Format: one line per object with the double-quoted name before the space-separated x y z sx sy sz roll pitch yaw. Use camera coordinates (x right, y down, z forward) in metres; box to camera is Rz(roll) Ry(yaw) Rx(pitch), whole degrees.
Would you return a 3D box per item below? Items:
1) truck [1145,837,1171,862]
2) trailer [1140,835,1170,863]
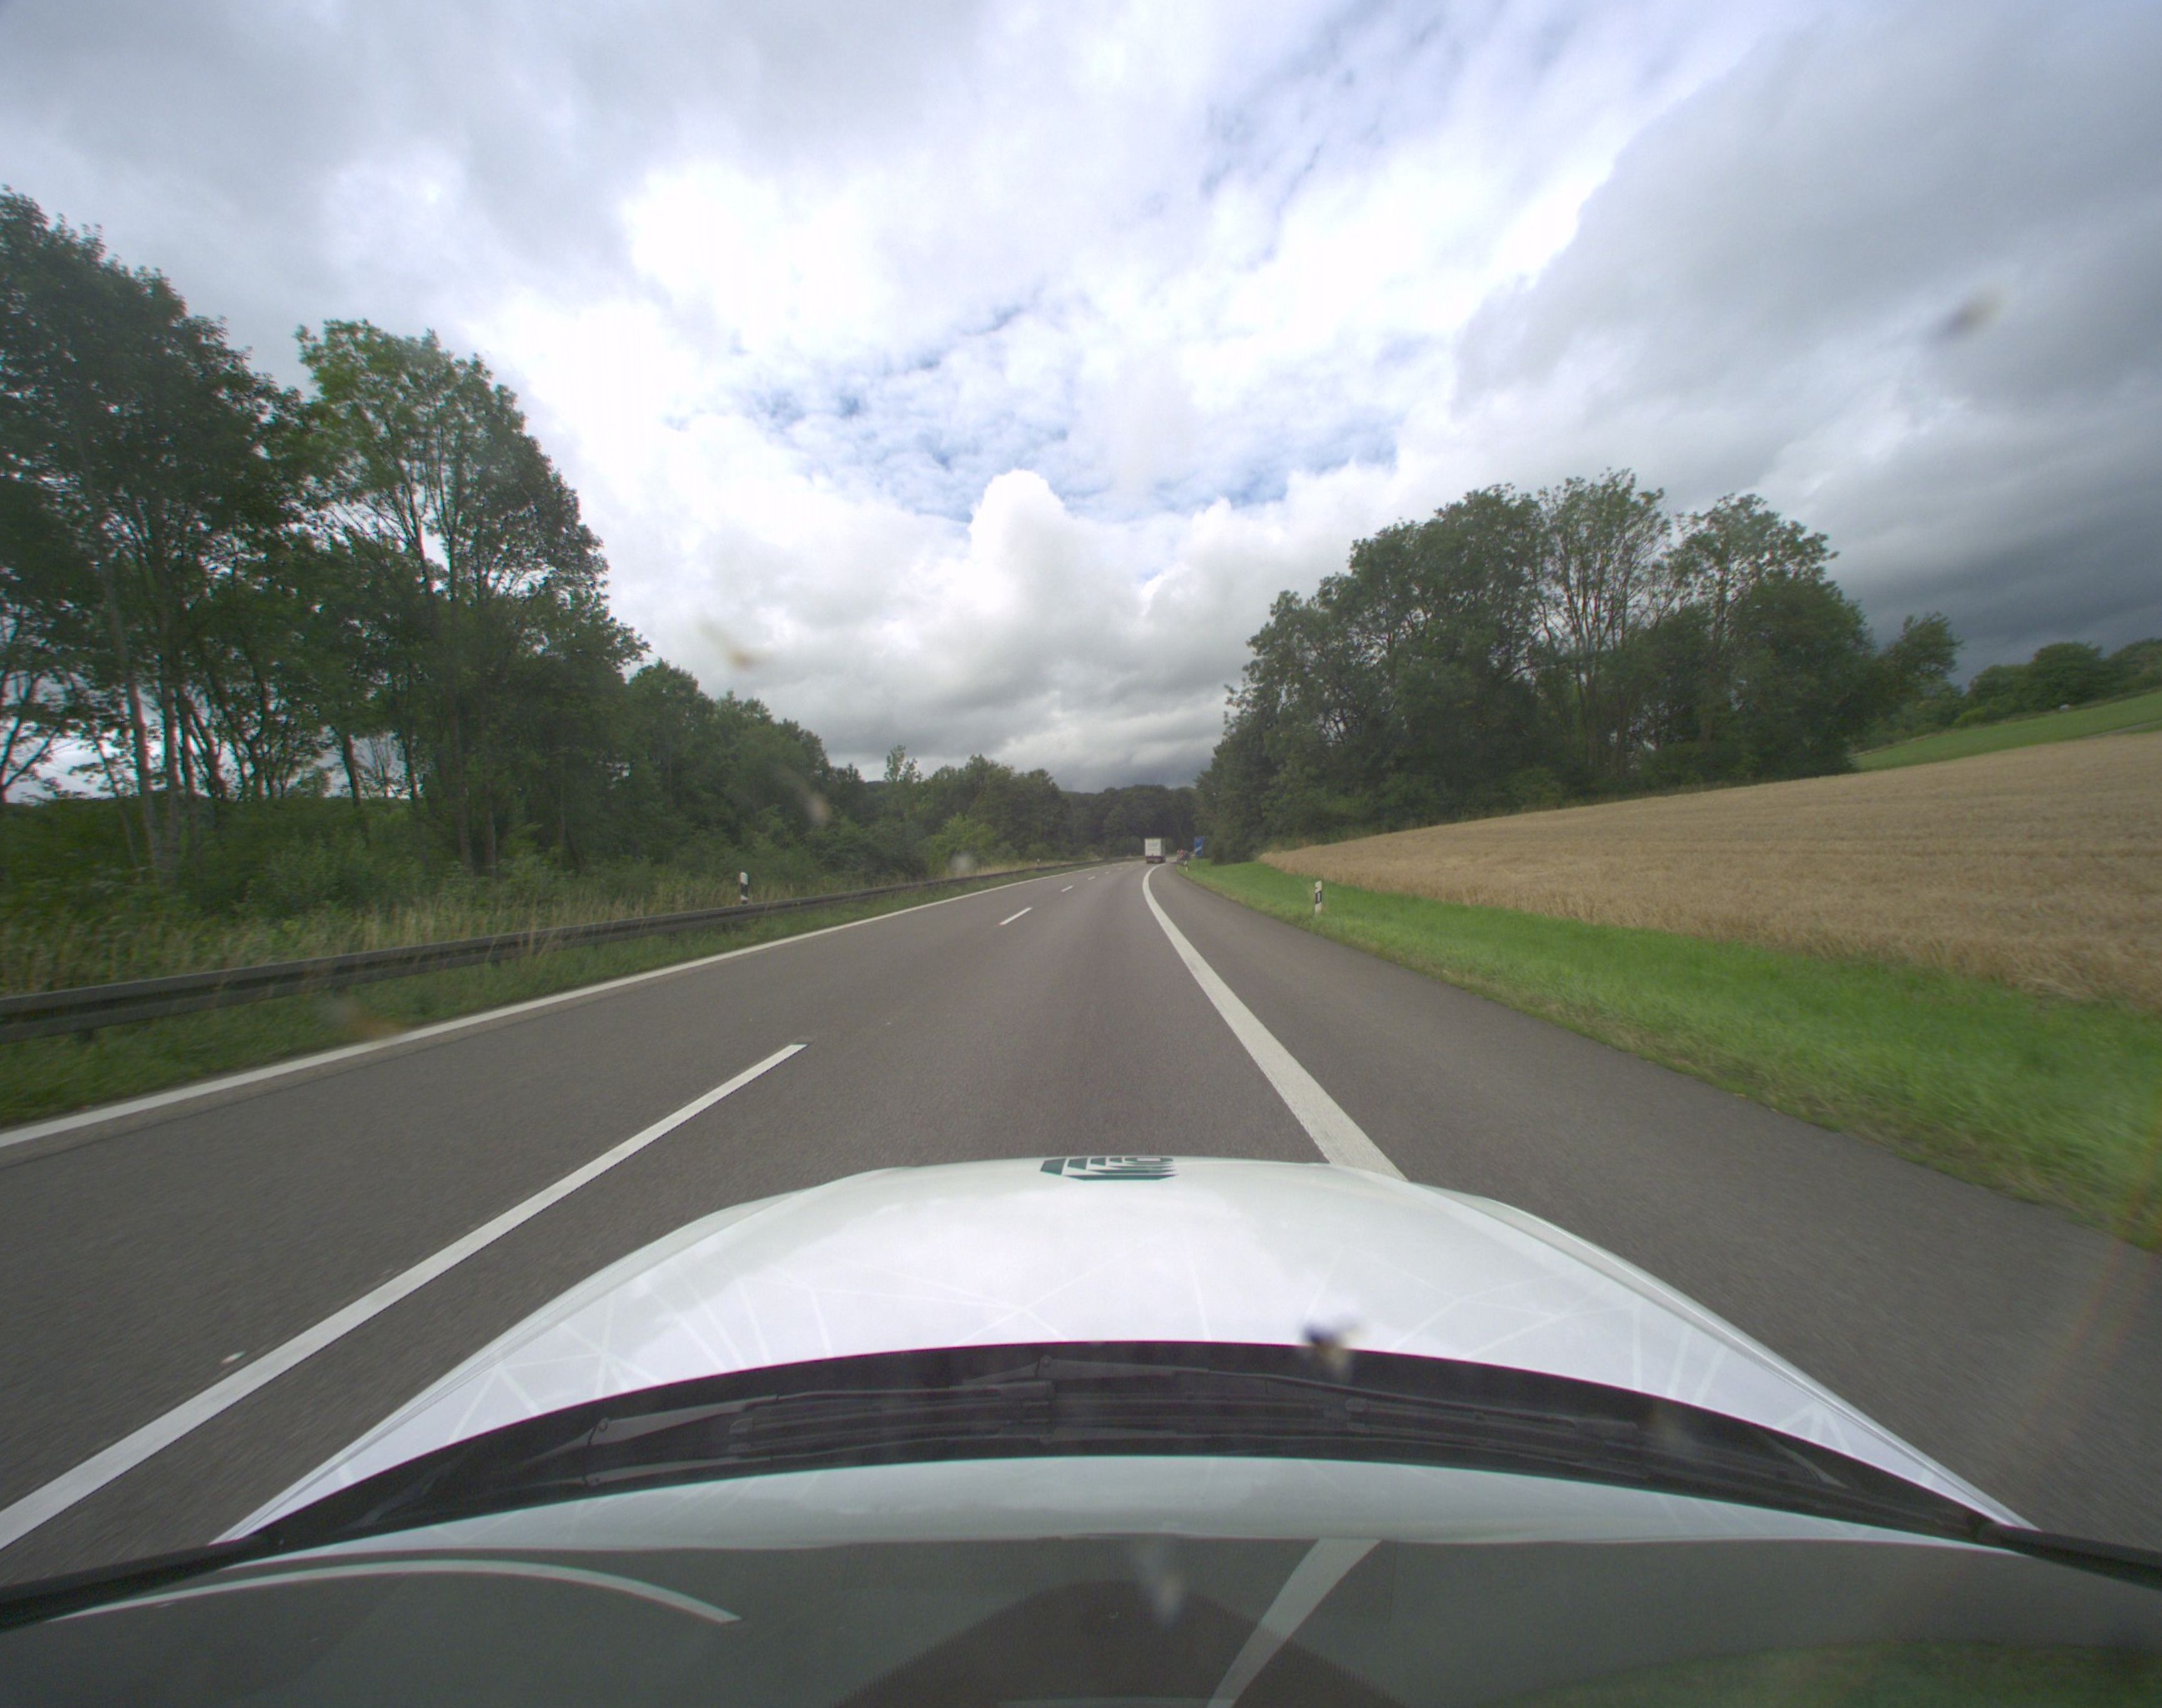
"truck" 13.373 -0.751 140.718 3.765 4.132 8.285 -1 -1 9
"trailer" 12.305 -0.803 134.047 3.783 4.174 14.845 -2 0 9
